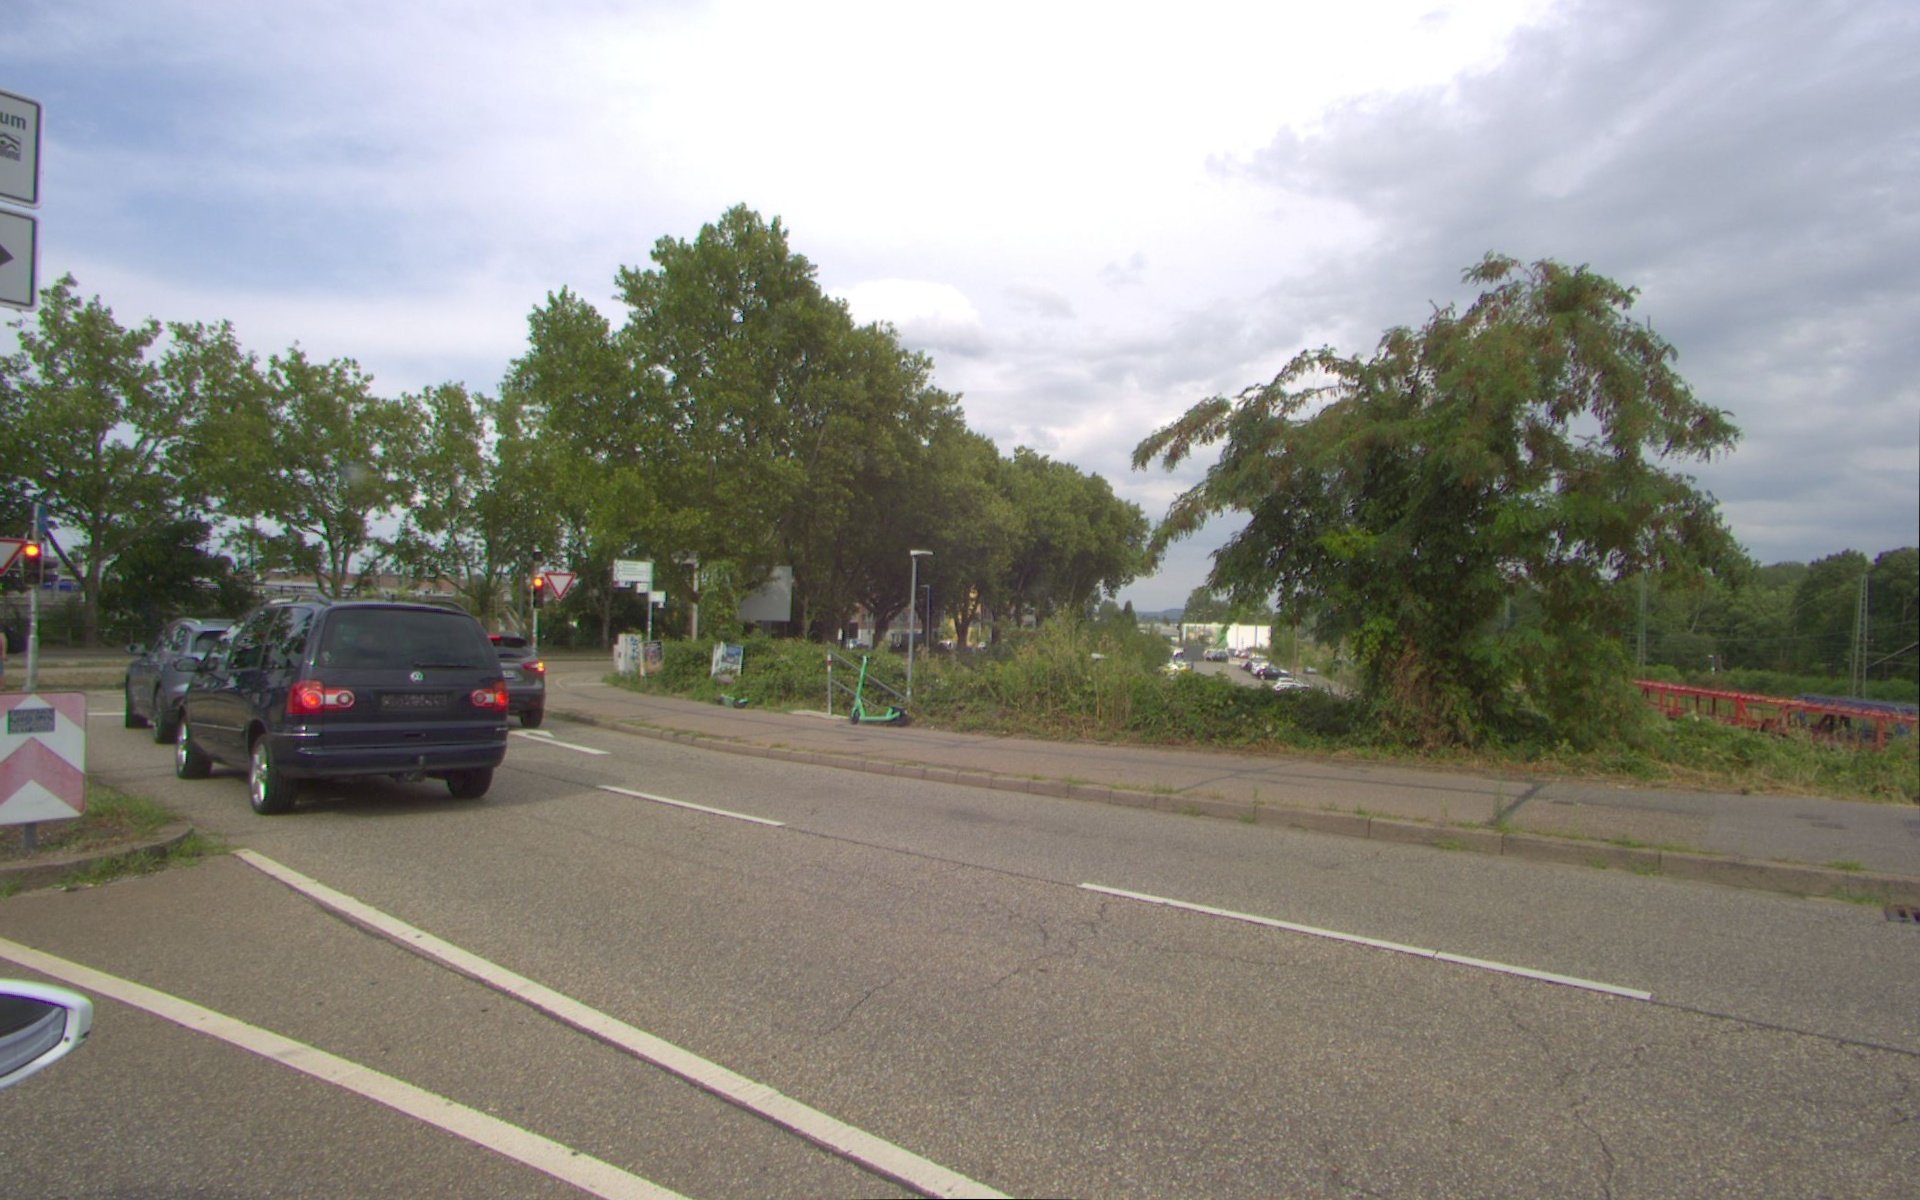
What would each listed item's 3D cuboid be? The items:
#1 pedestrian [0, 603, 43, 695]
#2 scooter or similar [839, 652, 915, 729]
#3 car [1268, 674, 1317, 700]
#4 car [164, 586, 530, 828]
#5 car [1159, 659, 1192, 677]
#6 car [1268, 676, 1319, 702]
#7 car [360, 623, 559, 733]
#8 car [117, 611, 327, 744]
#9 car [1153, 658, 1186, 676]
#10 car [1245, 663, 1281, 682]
[{"bbox_3d":[-18.437,0.933,19.283,1.039,1.732,0.846,3,-2,-40],"label":"pedestrian"},{"bbox_3d":[-1.369,1.464,16.425,1.262,1.198,0.396,-1,-1,32],"label":"scooter or similar"},{"bbox_3d":[30.026,7.841,90.483,3.923,2.040,1.762,1,-1,10],"label":"car"},{"bbox_3d":[-5.790,0.862,9.255,4.092,1.746,1.743,-1,-4,42],"label":"car"},{"bbox_3d":[26.853,8.501,124.760,3.926,2.040,1.761,1,-1,16],"label":"car"},{"bbox_3d":[28.973,7.741,87.170,3.923,2.040,1.762,1,-1,10],"label":"car"},{"bbox_3d":[-8.688,1.272,17.235,4.094,1.663,1.742,-1,-4,44],"label":"car"},{"bbox_3d":[-10.537,1.032,14.183,4.113,1.604,1.682,-2,-4,44],"label":"car"},{"bbox_3d":[26.724,8.561,127.659,3.926,2.040,1.761,1,-1,16],"label":"car"},{"bbox_3d":[36.128,8.631,119.563,3.923,2.040,1.762,1,-1,10],"label":"car"}]
